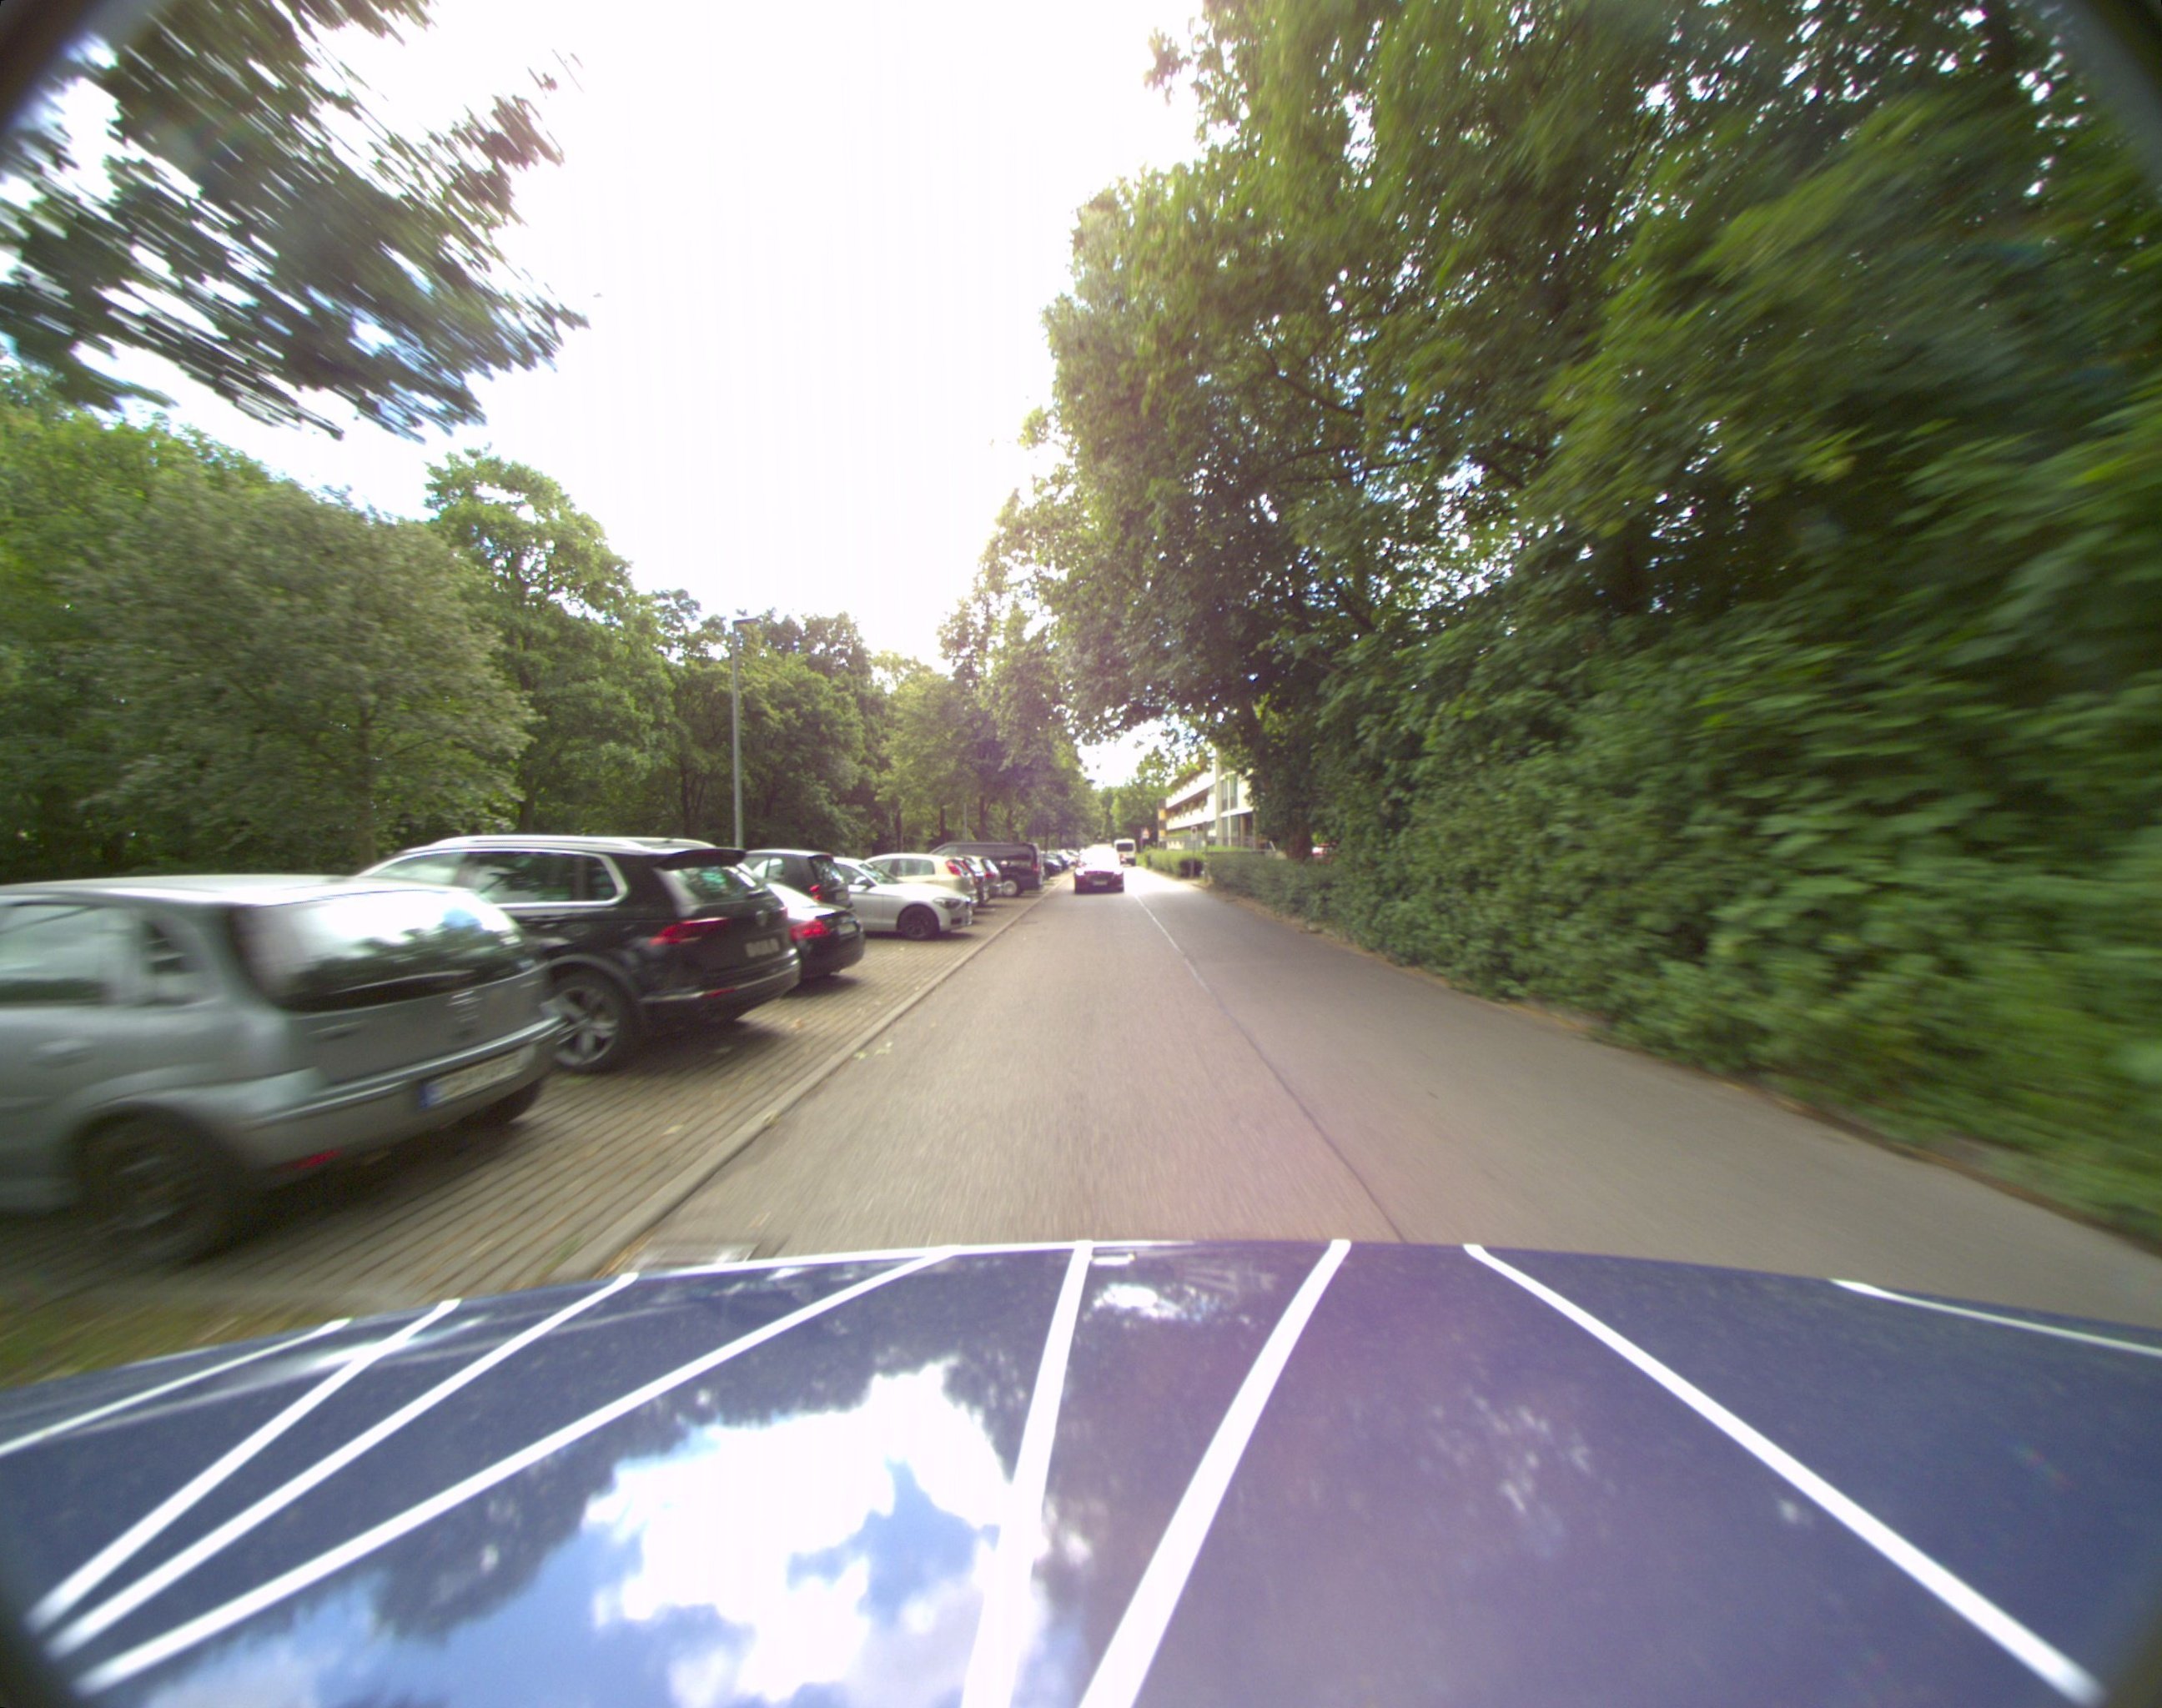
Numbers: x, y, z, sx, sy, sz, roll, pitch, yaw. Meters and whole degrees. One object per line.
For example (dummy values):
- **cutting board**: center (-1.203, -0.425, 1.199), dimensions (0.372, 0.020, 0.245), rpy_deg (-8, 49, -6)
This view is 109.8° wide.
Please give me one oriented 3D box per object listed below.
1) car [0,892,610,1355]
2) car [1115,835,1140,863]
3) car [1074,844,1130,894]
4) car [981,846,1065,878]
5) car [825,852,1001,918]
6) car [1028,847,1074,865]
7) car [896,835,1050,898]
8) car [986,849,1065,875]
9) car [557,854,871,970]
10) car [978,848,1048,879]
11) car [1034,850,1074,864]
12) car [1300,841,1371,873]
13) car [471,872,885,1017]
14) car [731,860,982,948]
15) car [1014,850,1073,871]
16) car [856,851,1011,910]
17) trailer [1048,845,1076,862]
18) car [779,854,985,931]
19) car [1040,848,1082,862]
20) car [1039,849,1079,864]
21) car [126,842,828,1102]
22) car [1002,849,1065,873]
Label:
- **car**: center (-4.707, 0.960, 3.576), dimensions (3.841, 1.395, 1.852), rpy_deg (0, 1, 3)
- **car**: center (4.467, -0.485, 73.271), dimensions (2.137, 2.461, 6.277), rpy_deg (-2, 0, 3)
- **car**: center (0.797, 0.501, 29.216), dimensions (1.918, 1.707, 5.038), rpy_deg (-2, 1, 1)
- **car**: center (-3.165, 0.442, 42.044), dimensions (4.426, 1.666, 2.082), rpy_deg (1, 0, 1)
- **car**: center (-4.144, 0.738, 19.171), dimensions (3.970, 1.502, 1.763), rpy_deg (1, 1, 4)
- **car**: center (-2.594, 0.140, 66.150), dimensions (3.848, 1.507, 1.881), rpy_deg (1, 1, 4)
- **car**: center (-3.674, 0.420, 26.547), dimensions (4.965, 2.002, 2.166), rpy_deg (1, 1, 3)
- **car**: center (-3.402, 0.477, 47.278), dimensions (4.647, 1.508, 1.983), rpy_deg (1, 0, 3)
- **car**: center (-5.367, 0.800, 11.482), dimensions (3.841, 1.549, 1.819), rpy_deg (0, 1, 1)
- **car**: center (-3.488, 0.479, 39.500), dimensions (3.387, 1.565, 1.797), rpy_deg (1, 0, 2)
- **car**: center (-2.719, 0.292, 76.647), dimensions (4.019, 1.414, 1.791), rpy_deg (0, 1, -4)
- **car**: center (12.773, 0.129, 38.039), dimensions (1.744, 1.422, 4.008), rpy_deg (0, 2, 44)
- **car**: center (-4.457, 0.943, 8.788), dimensions (3.840, 1.351, 1.822), rpy_deg (1, 1, 5)
- **car**: center (-3.963, 0.862, 13.947), dimensions (3.996, 1.422, 1.935), rpy_deg (0, 1, 1)
- **car**: center (-2.666, 0.483, 54.976), dimensions (4.082, 1.448, 1.851), rpy_deg (0, 1, 2)
- **car**: center (-4.099, 0.719, 21.507), dimensions (3.970, 1.502, 1.793), rpy_deg (1, 1, 3)
- **trailer**: center (-2.075, -0.074, 84.268), dimensions (3.037, 1.780, 1.563), rpy_deg (0, 1, -1)
- **car**: center (-4.256, 0.793, 16.670), dimensions (3.996, 1.519, 1.811), rpy_deg (0, 1, 2)
- **car**: center (-2.322, 0.110, 89.404), dimensions (4.828, 1.683, 1.974), rpy_deg (1, 1, 5)
- **car**: center (-2.239, 0.221, 79.052), dimensions (4.123, 1.539, 1.860), rpy_deg (0, 1, -1)
- **car**: center (-4.445, 0.748, 6.066), dimensions (4.132, 1.640, 1.980), rpy_deg (1, 1, 5)
- **car**: center (-3.099, 0.474, 50.114), dimensions (4.083, 1.508, 1.850), rpy_deg (0, 1, -2)
